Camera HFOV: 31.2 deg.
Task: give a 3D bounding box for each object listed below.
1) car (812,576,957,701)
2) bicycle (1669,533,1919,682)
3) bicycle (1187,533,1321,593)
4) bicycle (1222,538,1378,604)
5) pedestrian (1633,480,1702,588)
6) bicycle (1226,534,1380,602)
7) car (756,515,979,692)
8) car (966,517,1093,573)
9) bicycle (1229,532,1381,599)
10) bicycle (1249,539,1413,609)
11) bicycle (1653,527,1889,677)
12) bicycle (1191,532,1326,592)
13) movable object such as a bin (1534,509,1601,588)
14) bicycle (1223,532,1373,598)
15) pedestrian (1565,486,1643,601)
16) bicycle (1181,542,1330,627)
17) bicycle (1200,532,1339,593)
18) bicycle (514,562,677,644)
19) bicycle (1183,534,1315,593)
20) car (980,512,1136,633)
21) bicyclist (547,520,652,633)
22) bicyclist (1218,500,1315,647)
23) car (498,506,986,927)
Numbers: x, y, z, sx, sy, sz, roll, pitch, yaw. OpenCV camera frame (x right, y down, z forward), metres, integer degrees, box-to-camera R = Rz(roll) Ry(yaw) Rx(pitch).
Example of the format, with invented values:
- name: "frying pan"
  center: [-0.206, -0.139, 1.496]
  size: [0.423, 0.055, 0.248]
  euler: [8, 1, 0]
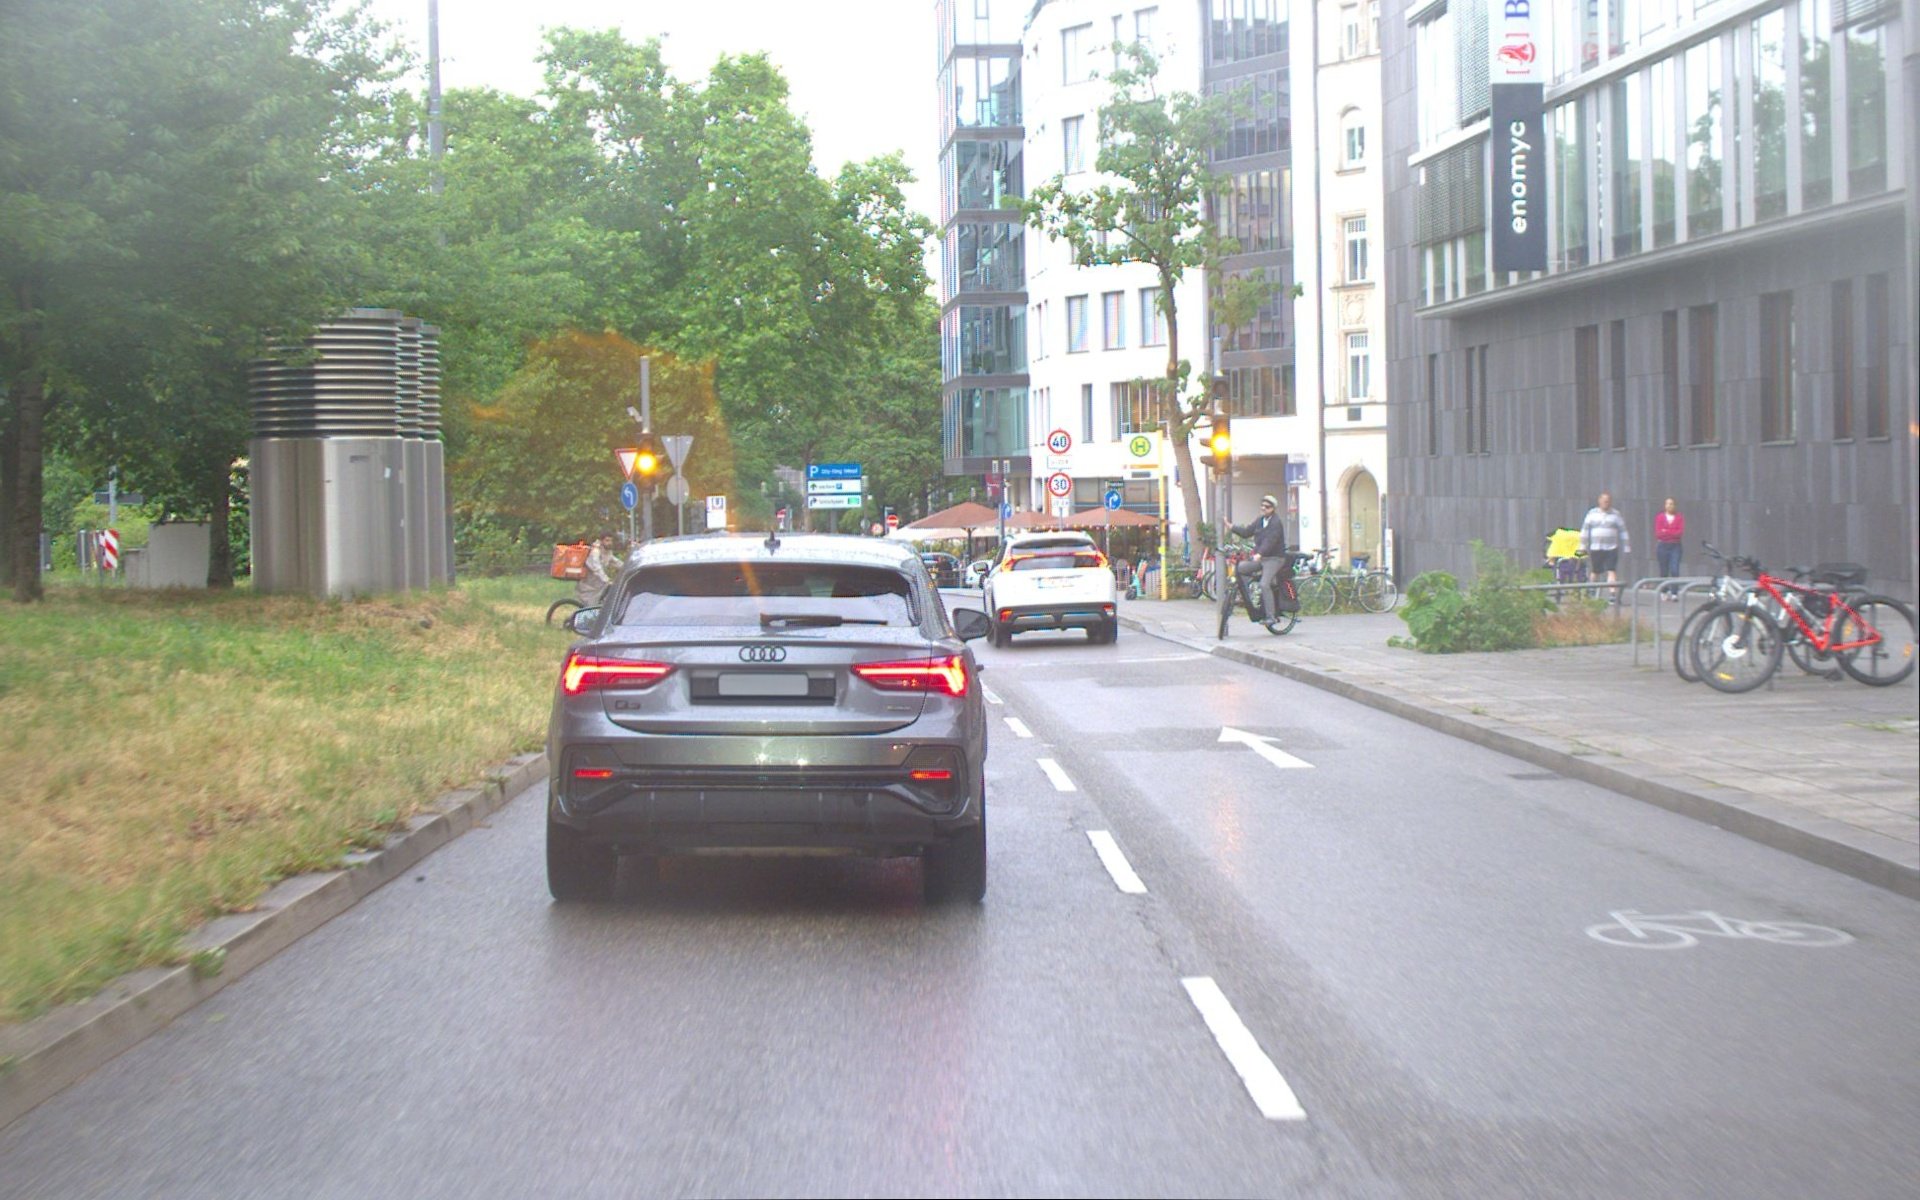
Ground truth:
- name: "car"
  center: [-1.051, 0.518, 49.832]
  size: [1.945, 1.641, 4.245]
  euler: [-1, 1, 1]
- name: "bicycle"
  center: [6.748, 0.054, 27.497]
  size: [1.984, 1.100, 0.808]
  euler: [-2, 1, 4]
- name: "bicycle"
  center: [5.804, -0.732, 67.996]
  size: [2.535, 1.083, 0.677]
  euler: [-2, 1, -3]
- name: "bicycle"
  center: [5.727, -0.486, 57.928]
  size: [2.535, 1.083, 0.677]
  euler: [1, 1, -3]
- name: "pedestrian"
  center: [11.431, -1.060, 55.578]
  size: [0.718, 1.684, 1.100]
  euler: [-4, 1, -4]
- name: "bicycle"
  center: [5.901, -0.555, 59.149]
  size: [2.535, 1.083, 0.677]
  euler: [-2, 1, -3]
- name: "car"
  center: [-1.003, -0.012, 35.978]
  size: [2.162, 1.700, 4.554]
  euler: [-1, 1, -2]
- name: "car"
  center: [2.352, -1.848, 115.686]
  size: [3.988, 1.641, 1.999]
  euler: [3, 1, 8]
- name: "bicycle"
  center: [6.011, -0.604, 60.000]
  size: [2.535, 1.083, 0.677]
  euler: [-2, 1, -3]
- name: "bicycle"
  center: [6.001, -0.425, 55.640]
  size: [2.535, 1.053, 0.677]
  euler: [-2, 1, -3]
- name: "bicycle"
  center: [6.909, 0.012, 29.348]
  size: [1.836, 1.193, 0.660]
  euler: [-2, 1, 4]
- name: "bicycle"
  center: [5.839, -0.752, 67.247]
  size: [2.535, 1.083, 0.677]
  euler: [-2, 1, -3]
- name: "movable object such as a bin"
  center: [10.041, -0.857, 56.836]
  size: [0.731, 1.259, 1.444]
  euler: [-4, 1, -2]
- name: "bicycle"
  center: [5.965, -0.625, 60.812]
  size: [2.535, 1.083, 0.677]
  euler: [-2, 1, -3]
- name: "pedestrian"
  center: [10.396, -0.910, 55.500]
  size: [0.900, 1.786, 1.047]
  euler: [-4, 1, -4]
- name: "bicycle"
  center: [4.250, -0.226, 49.318]
  size: [2.126, 1.141, 0.763]
  euler: [-2, 1, -37]
- name: "bicycle"
  center: [5.906, -0.718, 65.604]
  size: [2.535, 1.083, 0.677]
  euler: [-2, 1, -3]
- name: "bicycle"
  center: [-5.207, 0.039, 49.146]
  size: [2.063, 1.110, 1.011]
  euler: [2, 1, 21]
- name: "bicycle"
  center: [5.778, -0.735, 68.719]
  size: [2.535, 1.083, 0.627]
  euler: [-2, 1, -3]
- name: "car"
  center: [1.413, -0.429, 51.127]
  size: [2.179, 1.695, 4.000]
  euler: [-1, 1, 0]
- name: "bicyclist"
  center: [-5.147, -0.340, 49.121]
  size: [1.133, 1.577, 1.014]
  euler: [2, 1, 20]
- name: "bicyclist"
  center: [4.408, -0.386, 49.440]
  size: [1.082, 2.076, 0.763]
  euler: [-2, 1, -37]
- name: "car"
  center: [-0.828, 0.398, 15.455]
  size: [1.848, 1.610, 4.253]
  euler: [0, 2, 1]
